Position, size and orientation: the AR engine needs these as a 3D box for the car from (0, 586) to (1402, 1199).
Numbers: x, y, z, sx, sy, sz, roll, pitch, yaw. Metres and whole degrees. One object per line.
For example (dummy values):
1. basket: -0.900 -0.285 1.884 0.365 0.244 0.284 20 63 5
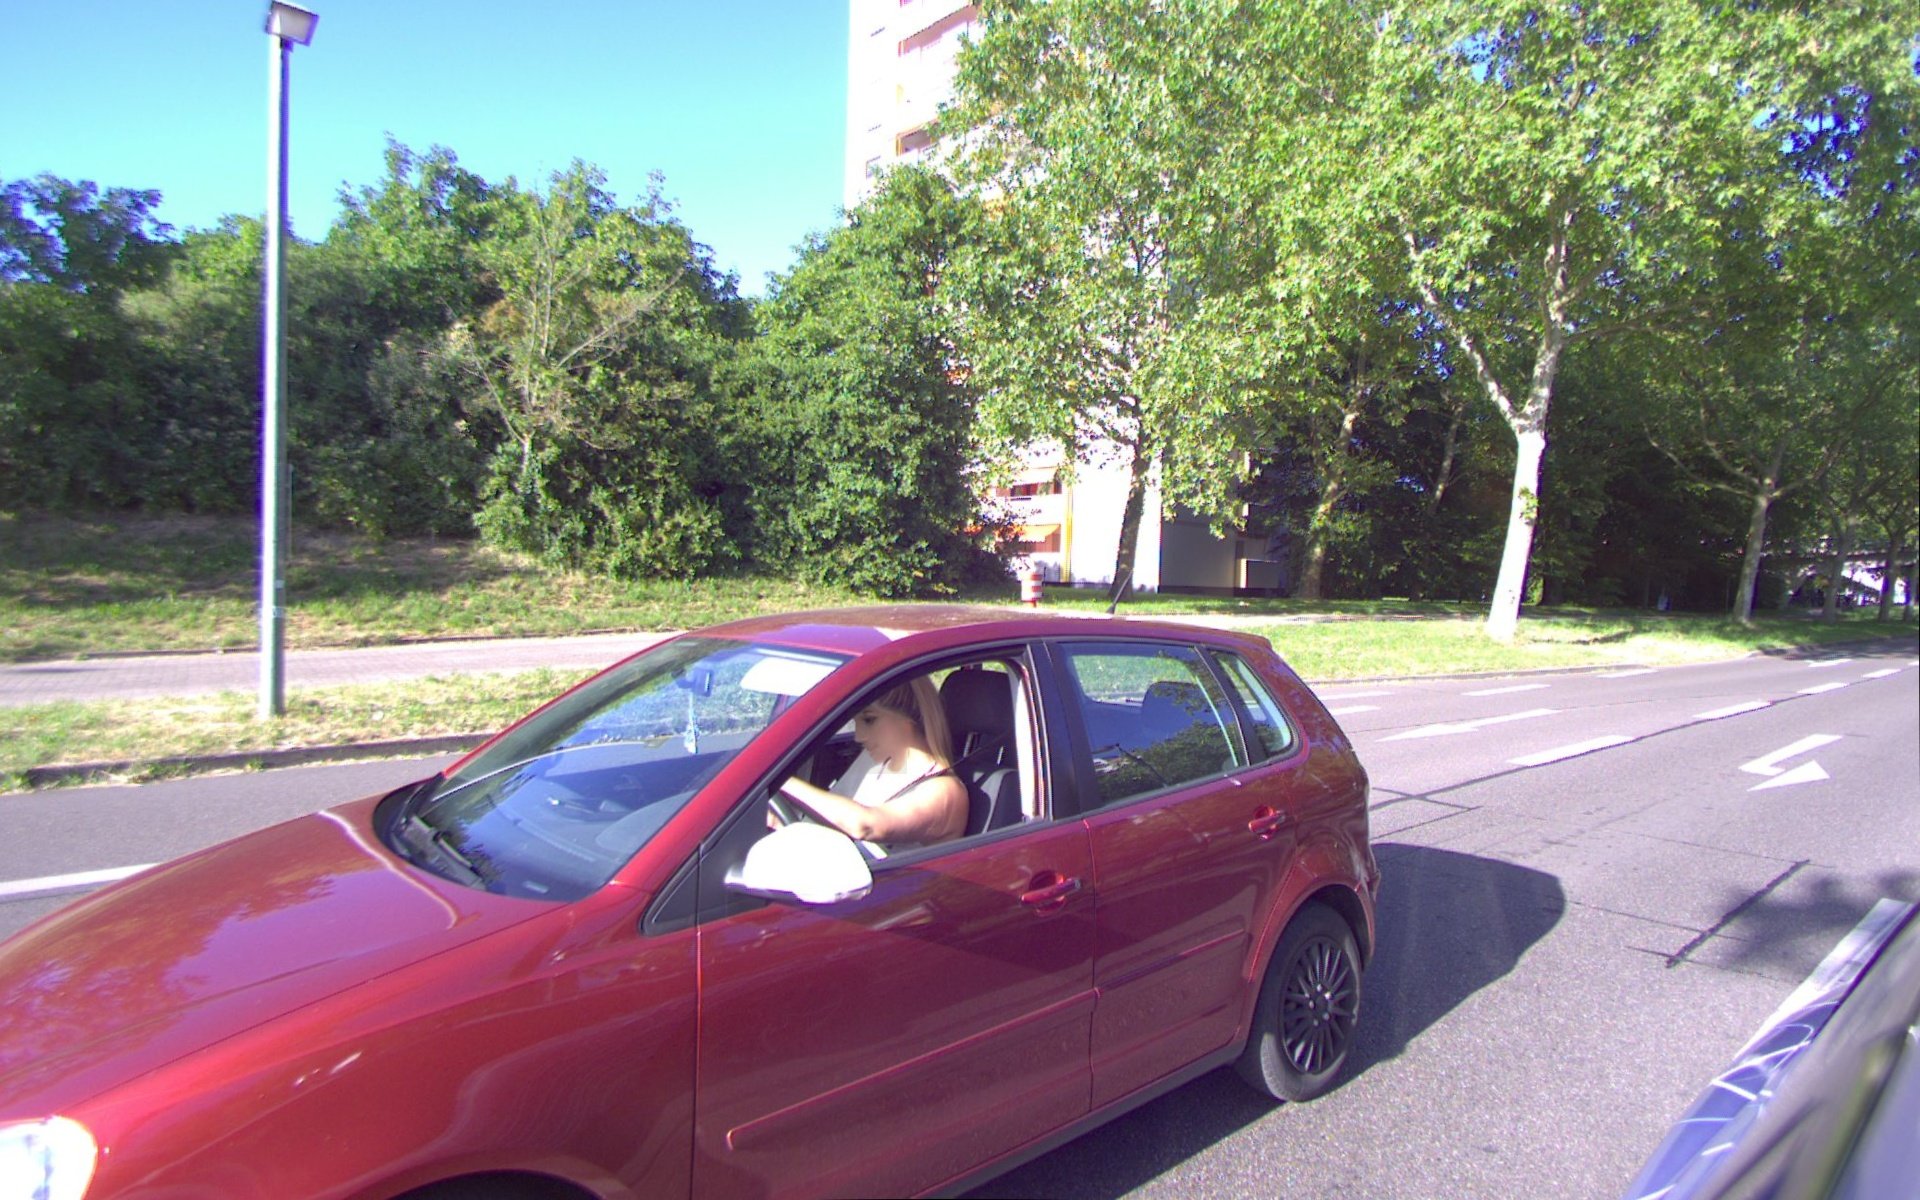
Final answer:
1. car: -0.449 0.708 2.727 3.624 1.479 1.579 -1 0 -40
